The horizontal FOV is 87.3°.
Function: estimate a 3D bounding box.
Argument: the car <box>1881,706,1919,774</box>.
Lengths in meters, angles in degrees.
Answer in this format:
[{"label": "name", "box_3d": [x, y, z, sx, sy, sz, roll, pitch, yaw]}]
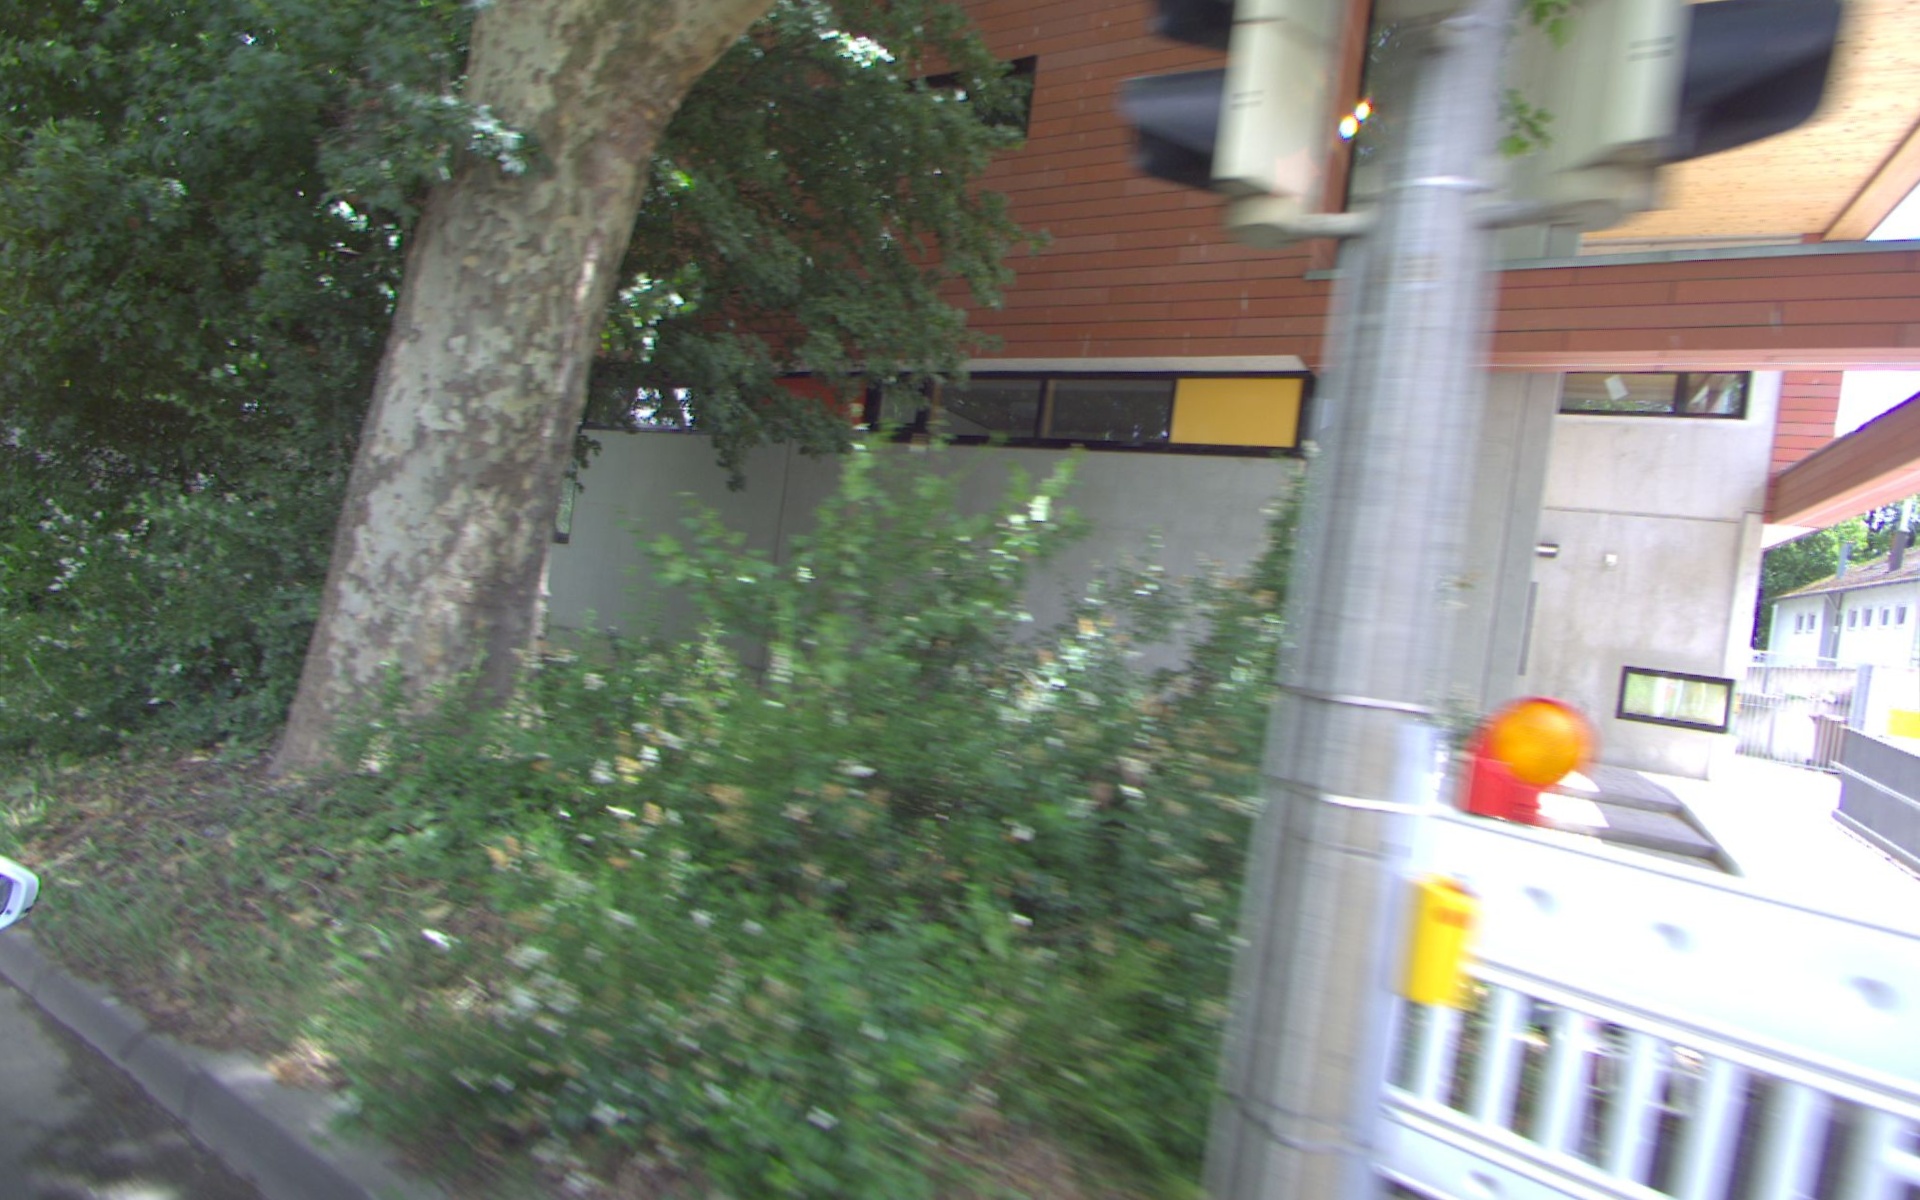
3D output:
[{"label": "car", "box_3d": [22.976, 3.359, 22.626, 1.858, 1.475, 4.241, 7, 0, 23]}]
